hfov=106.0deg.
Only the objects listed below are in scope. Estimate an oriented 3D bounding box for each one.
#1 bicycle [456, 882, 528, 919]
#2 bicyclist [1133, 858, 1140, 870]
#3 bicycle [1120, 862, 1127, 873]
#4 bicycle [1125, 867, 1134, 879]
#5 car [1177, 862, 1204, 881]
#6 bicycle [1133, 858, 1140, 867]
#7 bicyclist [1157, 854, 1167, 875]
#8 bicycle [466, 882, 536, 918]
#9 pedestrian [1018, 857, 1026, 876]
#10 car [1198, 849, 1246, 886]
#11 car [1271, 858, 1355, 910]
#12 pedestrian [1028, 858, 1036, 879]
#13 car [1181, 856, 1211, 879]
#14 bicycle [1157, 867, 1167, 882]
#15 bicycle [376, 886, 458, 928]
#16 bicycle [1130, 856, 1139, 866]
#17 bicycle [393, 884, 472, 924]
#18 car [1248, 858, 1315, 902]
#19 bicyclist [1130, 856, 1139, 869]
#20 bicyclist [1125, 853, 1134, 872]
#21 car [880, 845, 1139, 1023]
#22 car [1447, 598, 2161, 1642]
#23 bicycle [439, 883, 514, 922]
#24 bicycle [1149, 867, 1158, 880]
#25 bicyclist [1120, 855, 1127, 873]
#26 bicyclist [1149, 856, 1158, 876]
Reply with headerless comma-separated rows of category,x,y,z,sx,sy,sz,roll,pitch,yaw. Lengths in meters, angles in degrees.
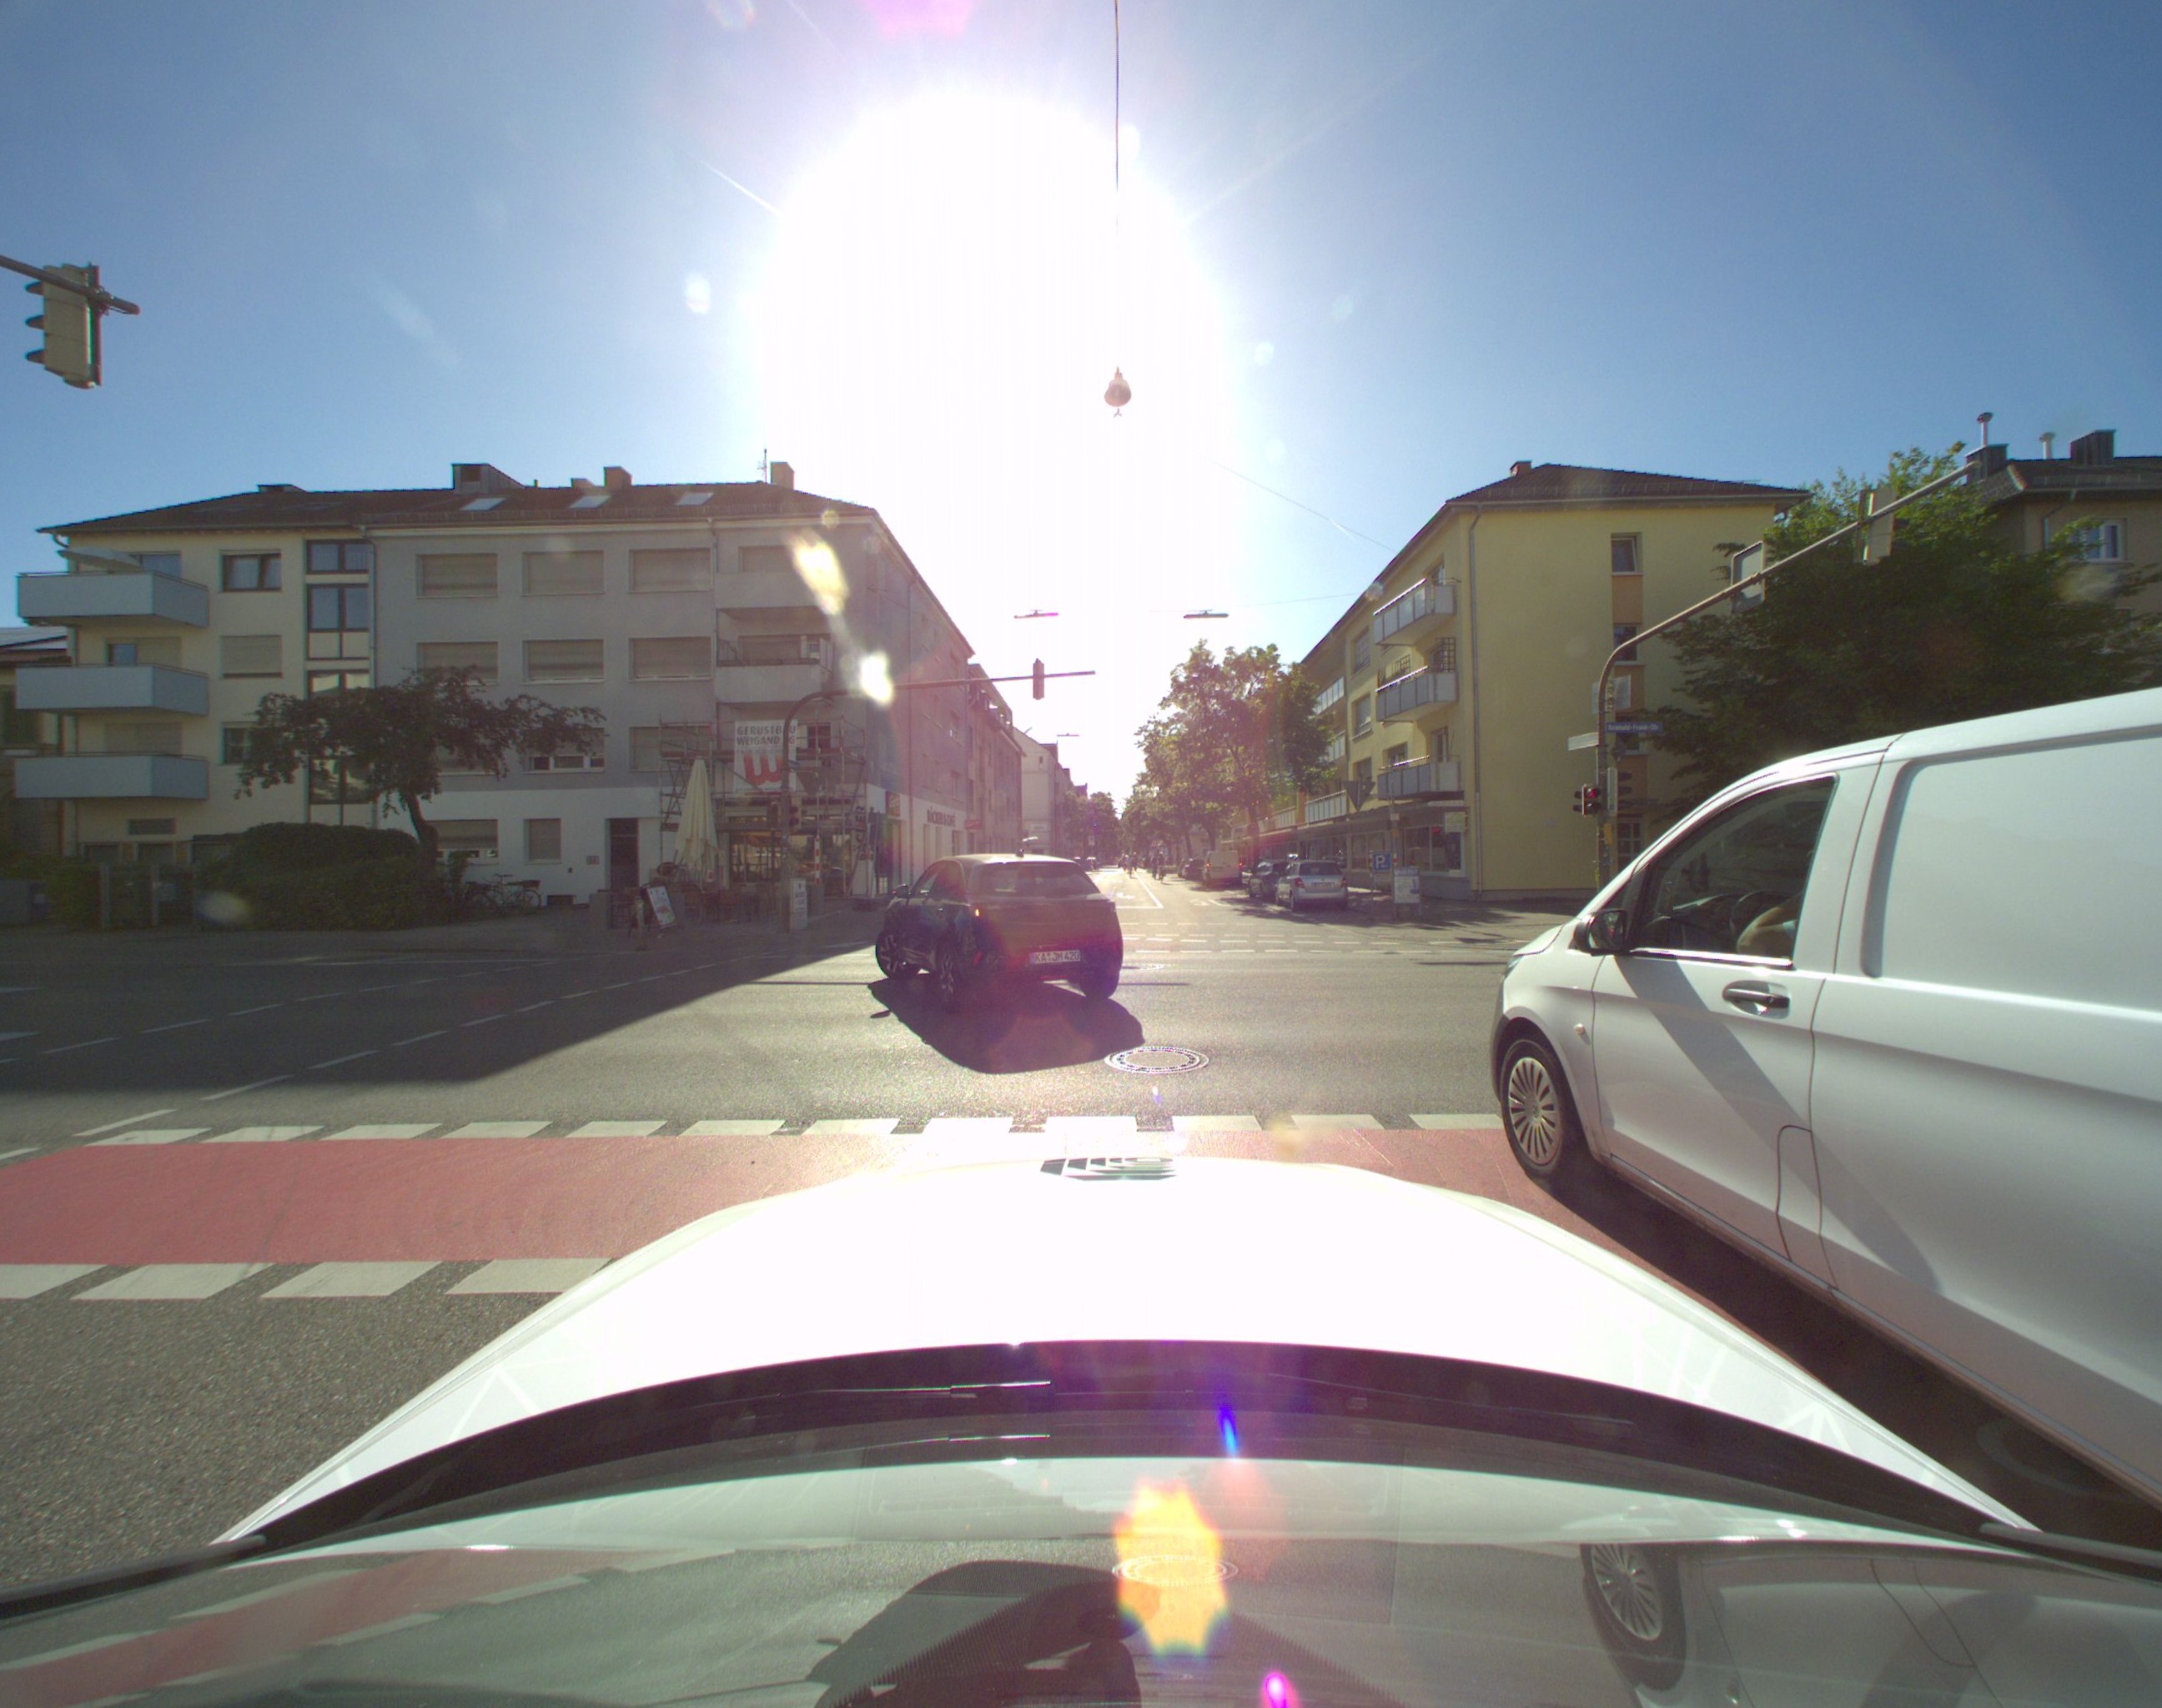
bicycle,-15.761,1.247,21.814,1.581,0.940,0.513,-1,0,4
bicyclist,5.373,0.957,78.702,0.689,1.193,0.595,-1,-1,3
bicycle,4.123,1.273,78.509,0.630,1.041,1.796,-2,0,2
bicycle,3.607,1.405,60.370,0.617,0.866,1.878,-1,0,4
car,8.265,1.291,61.748,1.706,1.314,3.383,-1,0,3
bicycle,5.373,0.823,78.703,0.688,0.866,1.878,-1,0,4
bicyclist,4.824,0.617,48.773,0.544,1.262,0.803,-1,0,3
bicycle,-16.033,1.257,22.521,1.581,0.940,0.513,-1,0,4
pedestrian,-4.457,0.934,61.183,0.575,1.467,0.702,-1,-1,-3
car,7.470,0.693,43.603,2.037,1.846,4.588,-1,0,4
car,7.048,0.868,25.046,1.706,1.483,3.482,-1,0,3
pedestrian,-3.658,1.070,60.887,0.575,1.583,0.707,-1,-1,-3
car,7.881,0.922,55.992,1.706,1.483,3.383,-1,0,3
bicycle,4.830,1.231,48.723,0.544,0.866,1.878,-1,0,4
bicycle,-15.952,1.274,19.569,1.581,0.940,0.513,-1,0,4
bicycle,5.781,0.753,87.965,0.853,0.945,2.309,1,0,2
bicycle,-16.142,1.248,20.285,1.581,0.940,0.513,-1,0,4
car,7.220,0.886,29.610,1.706,1.483,3.383,-1,0,3
bicyclist,5.781,0.933,87.944,0.853,1.314,1.211,1,0,2
bicyclist,3.597,0.630,60.412,0.586,1.382,0.823,-1,0,3
car,-1.050,0.731,9.371,1.770,1.558,3.968,0,-1,-24
car,2.857,0.457,1.827,1.961,1.810,4.833,-1,-1,1
bicycle,-15.635,1.252,21.074,1.581,0.940,0.513,-1,0,4
bicycle,5.093,1.357,57.264,0.544,0.866,1.878,-1,0,4
bicyclist,4.105,0.950,78.174,0.630,1.669,1.051,-1,-1,2
bicyclist,5.070,0.850,57.122,0.544,1.382,0.823,-1,0,3
